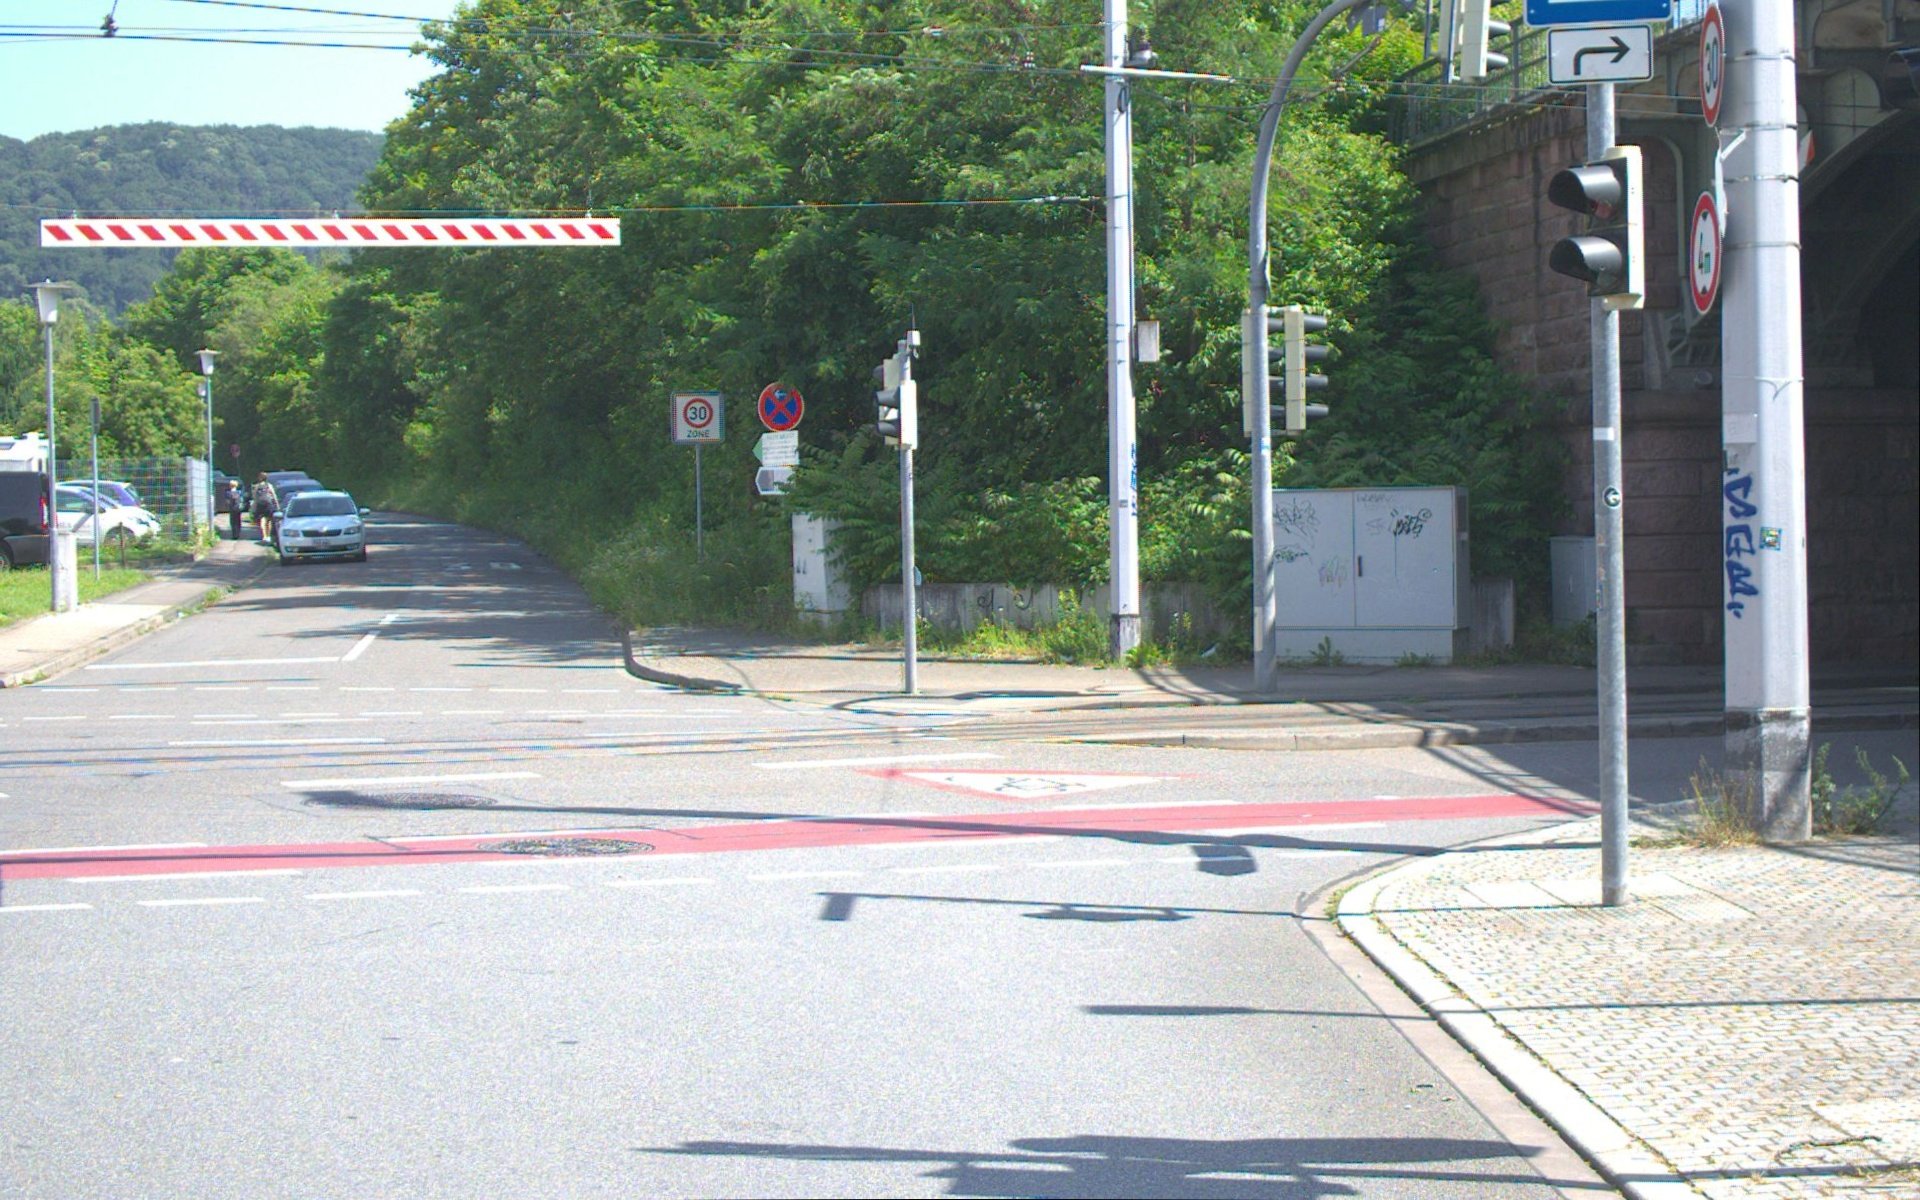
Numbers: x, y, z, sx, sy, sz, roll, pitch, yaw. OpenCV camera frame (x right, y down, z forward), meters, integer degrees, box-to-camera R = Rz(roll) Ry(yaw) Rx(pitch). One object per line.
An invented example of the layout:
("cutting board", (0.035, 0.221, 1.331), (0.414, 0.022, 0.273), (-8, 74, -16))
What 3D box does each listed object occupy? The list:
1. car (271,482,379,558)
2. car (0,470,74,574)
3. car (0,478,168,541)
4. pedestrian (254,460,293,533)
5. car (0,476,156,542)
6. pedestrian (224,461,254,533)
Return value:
("car", (-13.373, -1.692, 72.631), (2.086, 1.505, 4.541), (1, 1, -9))
("car", (-18.553, -1.344, 61.095), (5.246, 1.810, 2.001), (-2, 2, -10))
("car", (-19.903, -2.035, 77.725), (3.719, 1.367, 1.605), (1, 1, -7))
("pedestrian", (-16.834, -2.529, 84.318), (0.875, 1.757, 0.731), (1, 0, -9))
("car", (-19.609, -1.999, 75.305), (3.719, 1.367, 1.605), (1, 0, -7))
("pedestrian", (-17.688, -2.520, 84.341), (0.653, 1.757, 0.804), (1, 0, -9))
